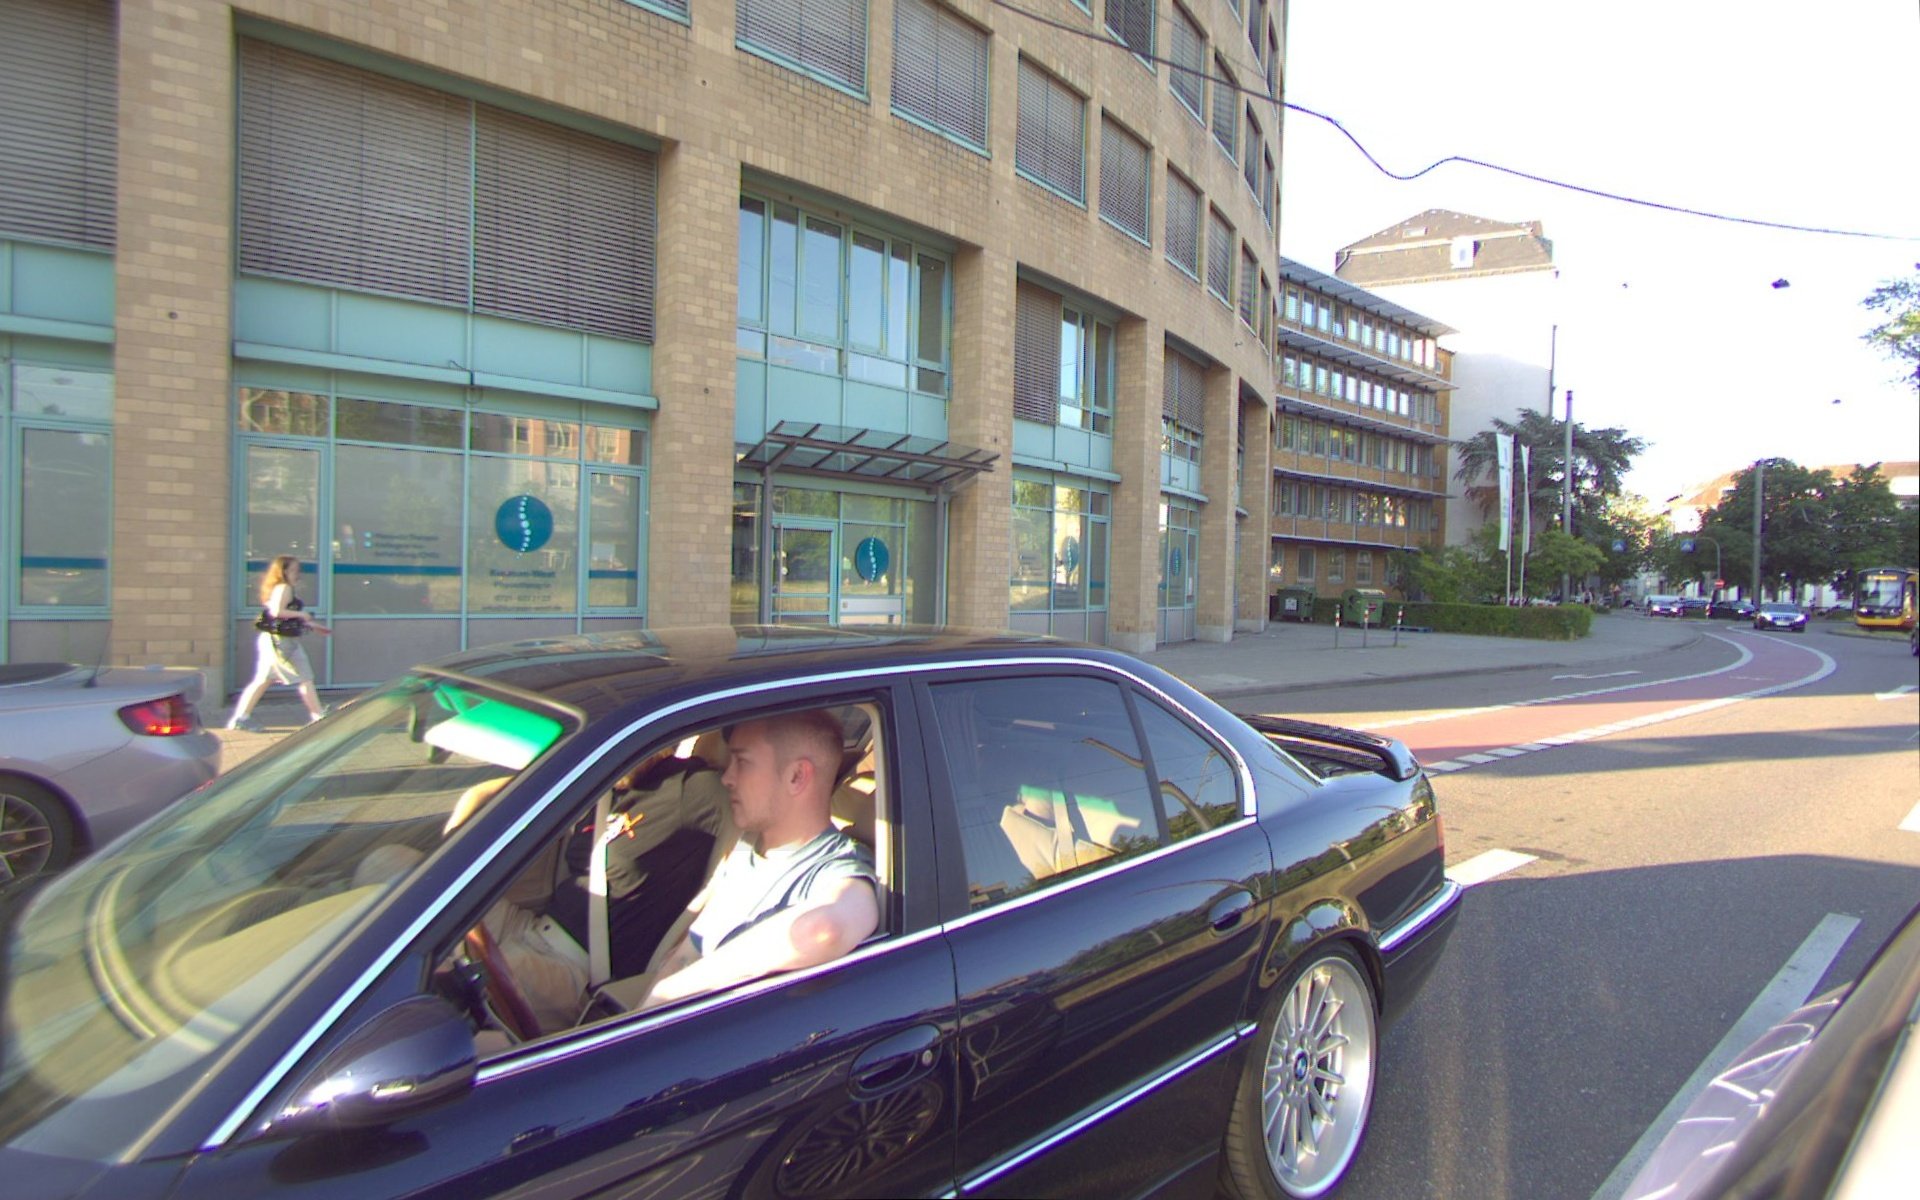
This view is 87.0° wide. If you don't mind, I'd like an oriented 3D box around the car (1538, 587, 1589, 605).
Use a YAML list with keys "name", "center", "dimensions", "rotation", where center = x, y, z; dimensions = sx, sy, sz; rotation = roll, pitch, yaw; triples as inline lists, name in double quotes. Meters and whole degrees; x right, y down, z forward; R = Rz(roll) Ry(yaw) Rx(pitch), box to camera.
- name: "car"
  center: [56.996, -0.378, 95.688]
  dimensions: [4.034, 1.589, 1.818]
  rotation: [3, 1, 30]

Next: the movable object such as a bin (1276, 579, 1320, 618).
- name: "movable object such as a bin"
  center: [13.172, -0.070, 39.434]
  dimensions: [1.340, 1.442, 0.910]
  rotation: [3, 1, 42]

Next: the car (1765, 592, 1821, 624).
- name: "car"
  center: [43.425, 0.421, 52.840]
  dimensions: [1.809, 1.501, 4.084]
  rotation: [3, 1, 34]

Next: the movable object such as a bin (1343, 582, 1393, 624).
- name: "movable object such as a bin"
  center: [14.886, 0.091, 36.924]
  dimensions: [1.317, 1.455, 0.976]
  rotation: [2, 0, -22]

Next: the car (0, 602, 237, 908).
- name: "car"
  center: [-5.893, 0.694, 4.503]
  dimensions: [4.192, 1.371, 1.786]
  rotation: [1, 0, -41]

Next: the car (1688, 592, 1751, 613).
- name: "car"
  center: [63.485, 0.174, 84.630]
  dimensions: [4.055, 1.576, 1.837]
  rotation: [3, 1, 43]

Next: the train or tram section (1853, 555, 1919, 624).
- name: "train or tram section"
  center: [55.339, -0.575, 58.317]
  dimensions: [13.114, 3.629, 2.950]
  rotation: [0, 1, -36]

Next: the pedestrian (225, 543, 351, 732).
- name: "pedestrian"
  center: [-5.975, 0.308, 9.003]
  dimensions: [0.786, 1.589, 0.677]
  rotation: [2, 0, -43]

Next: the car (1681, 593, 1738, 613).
- name: "car"
  center: [69.600, 0.312, 93.997]
  dimensions: [4.055, 1.638, 1.969]
  rotation: [3, 1, 43]

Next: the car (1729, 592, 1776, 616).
- name: "car"
  center: [53.839, 0.264, 68.813]
  dimensions: [1.805, 1.501, 4.093]
  rotation: [3, 1, 29]

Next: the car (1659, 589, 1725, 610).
- name: "car"
  center: [75.725, -0.028, 104.766]
  dimensions: [2.083, 1.926, 5.078]
  rotation: [2, 1, -39]

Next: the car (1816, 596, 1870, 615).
- name: "car"
  center: [91.904, 0.549, 105.390]
  dimensions: [1.672, 1.746, 4.007]
  rotation: [2, 1, -42]

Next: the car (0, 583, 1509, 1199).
- name: "car"
  center: [-0.636, 0.680, 2.250]
  dimensions: [4.560, 1.371, 1.833]
  rotation: [1, 0, -42]

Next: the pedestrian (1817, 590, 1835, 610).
- name: "pedestrian"
  center: [88.276, -0.008, 103.168]
  dimensions: [0.988, 2.039, 0.831]
  rotation: [2, 0, -12]

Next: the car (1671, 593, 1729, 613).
- name: "car"
  center: [67.581, 0.277, 92.496]
  dimensions: [4.055, 1.571, 1.969]
  rotation: [3, 1, 43]

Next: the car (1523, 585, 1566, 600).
- name: "car"
  center: [71.785, -0.873, 124.352]
  dimensions: [4.356, 1.633, 1.713]
  rotation: [3, 1, 27]

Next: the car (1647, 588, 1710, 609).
- name: "car"
  center: [76.613, -0.181, 108.011]
  dimensions: [1.932, 2.047, 5.078]
  rotation: [2, 1, -39]

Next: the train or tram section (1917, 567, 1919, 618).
- name: "train or tram section"
  center: [66.186, -0.428, 65.131]
  dimensions: [12.596, 3.180, 2.936]
  rotation: [0, 1, -29]

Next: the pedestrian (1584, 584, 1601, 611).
- name: "pedestrian"
  center: [42.147, -0.170, 67.389]
  dimensions: [0.805, 1.814, 0.593]
  rotation: [2, 0, -30]

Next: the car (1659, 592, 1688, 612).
- name: "car"
  center: [59.511, 0.175, 84.452]
  dimensions: [1.809, 1.501, 4.084]
  rotation: [2, 0, 34]
